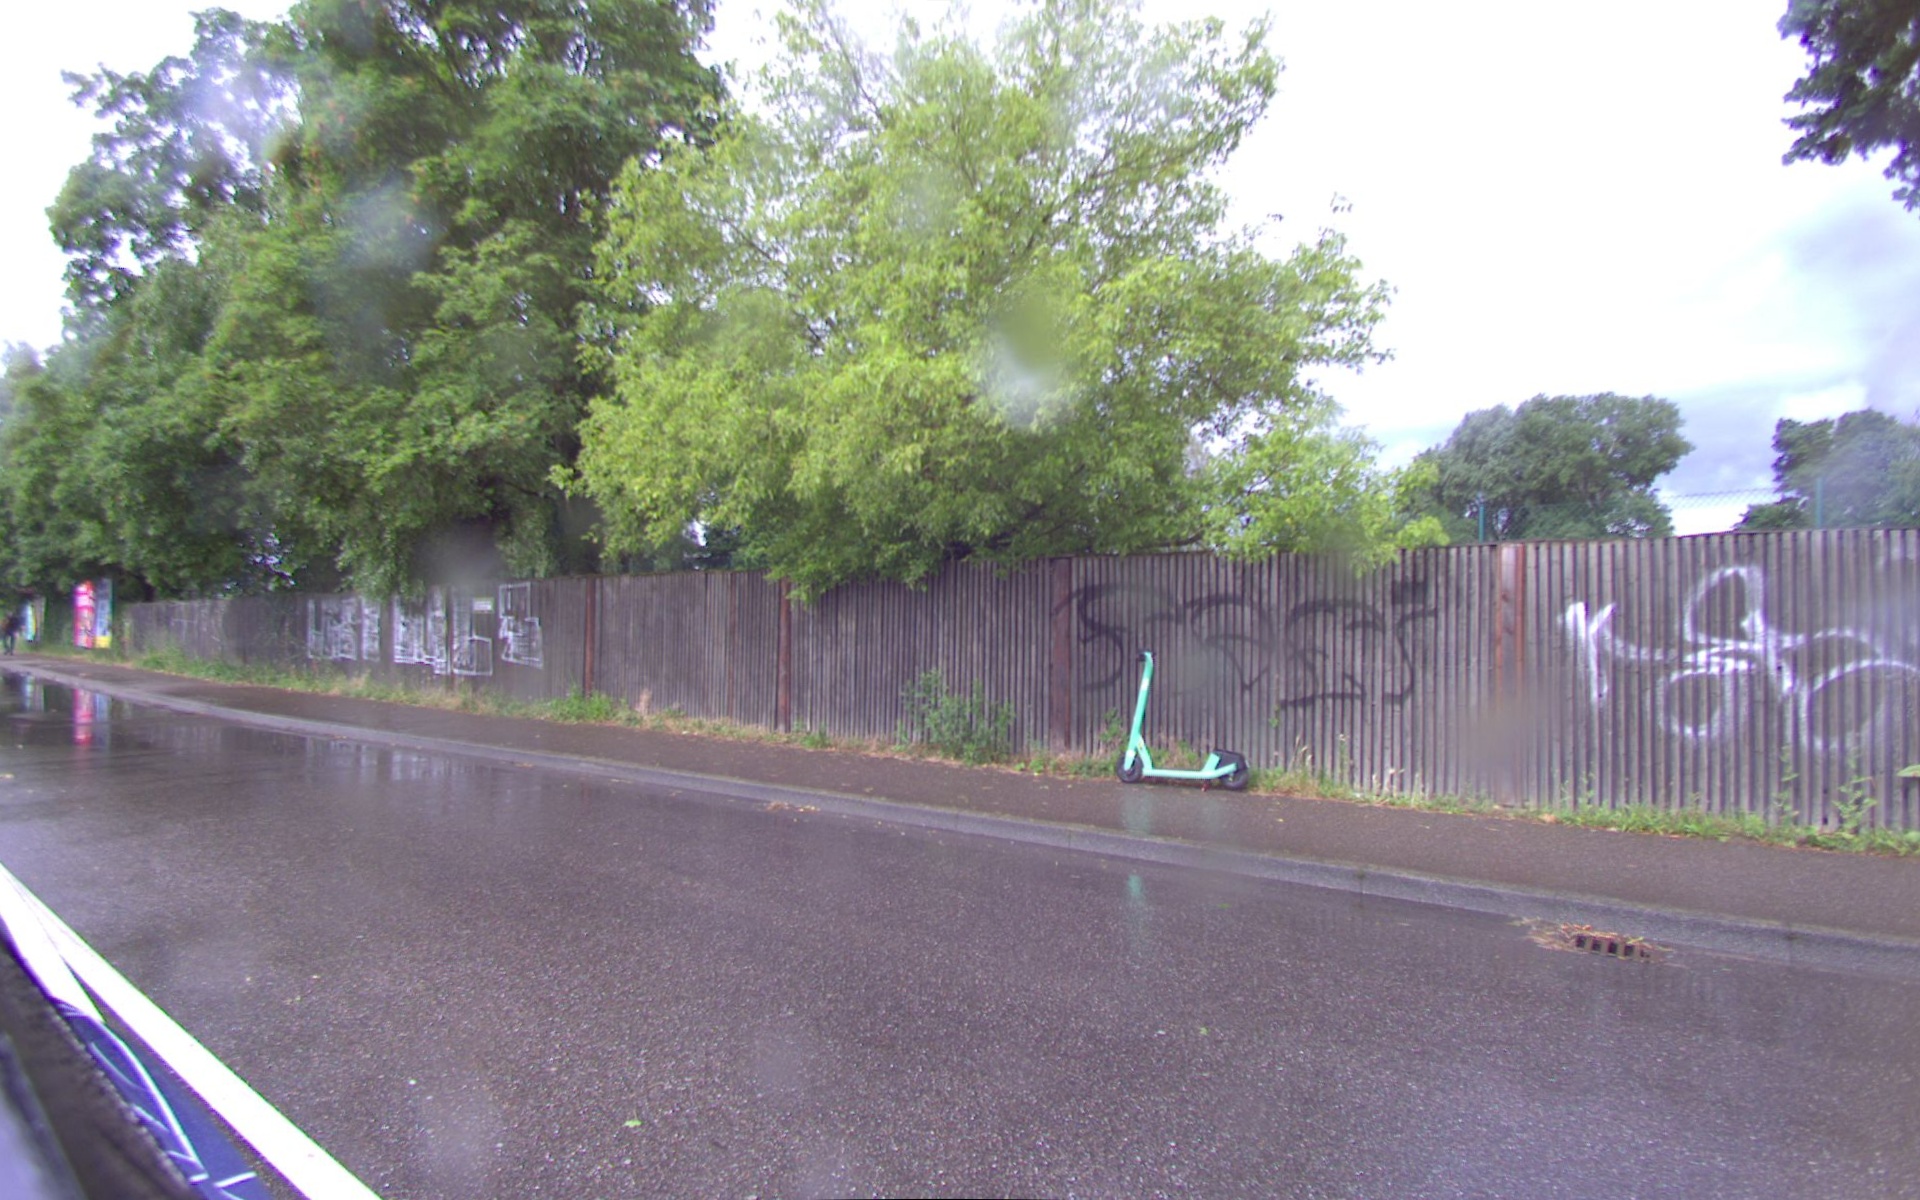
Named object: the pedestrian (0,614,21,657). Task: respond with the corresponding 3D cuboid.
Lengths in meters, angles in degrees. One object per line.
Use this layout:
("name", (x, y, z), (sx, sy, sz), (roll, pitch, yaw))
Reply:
("pedestrian", (-39.377, 1.459, 41.768), (0.644, 1.783, 0.830), (-1, -2, 40))

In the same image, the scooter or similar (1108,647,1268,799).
("scooter or similar", (1.919, 0.997, 8.568), (1.205, 1.171, 0.557), (-1, -2, 34))
